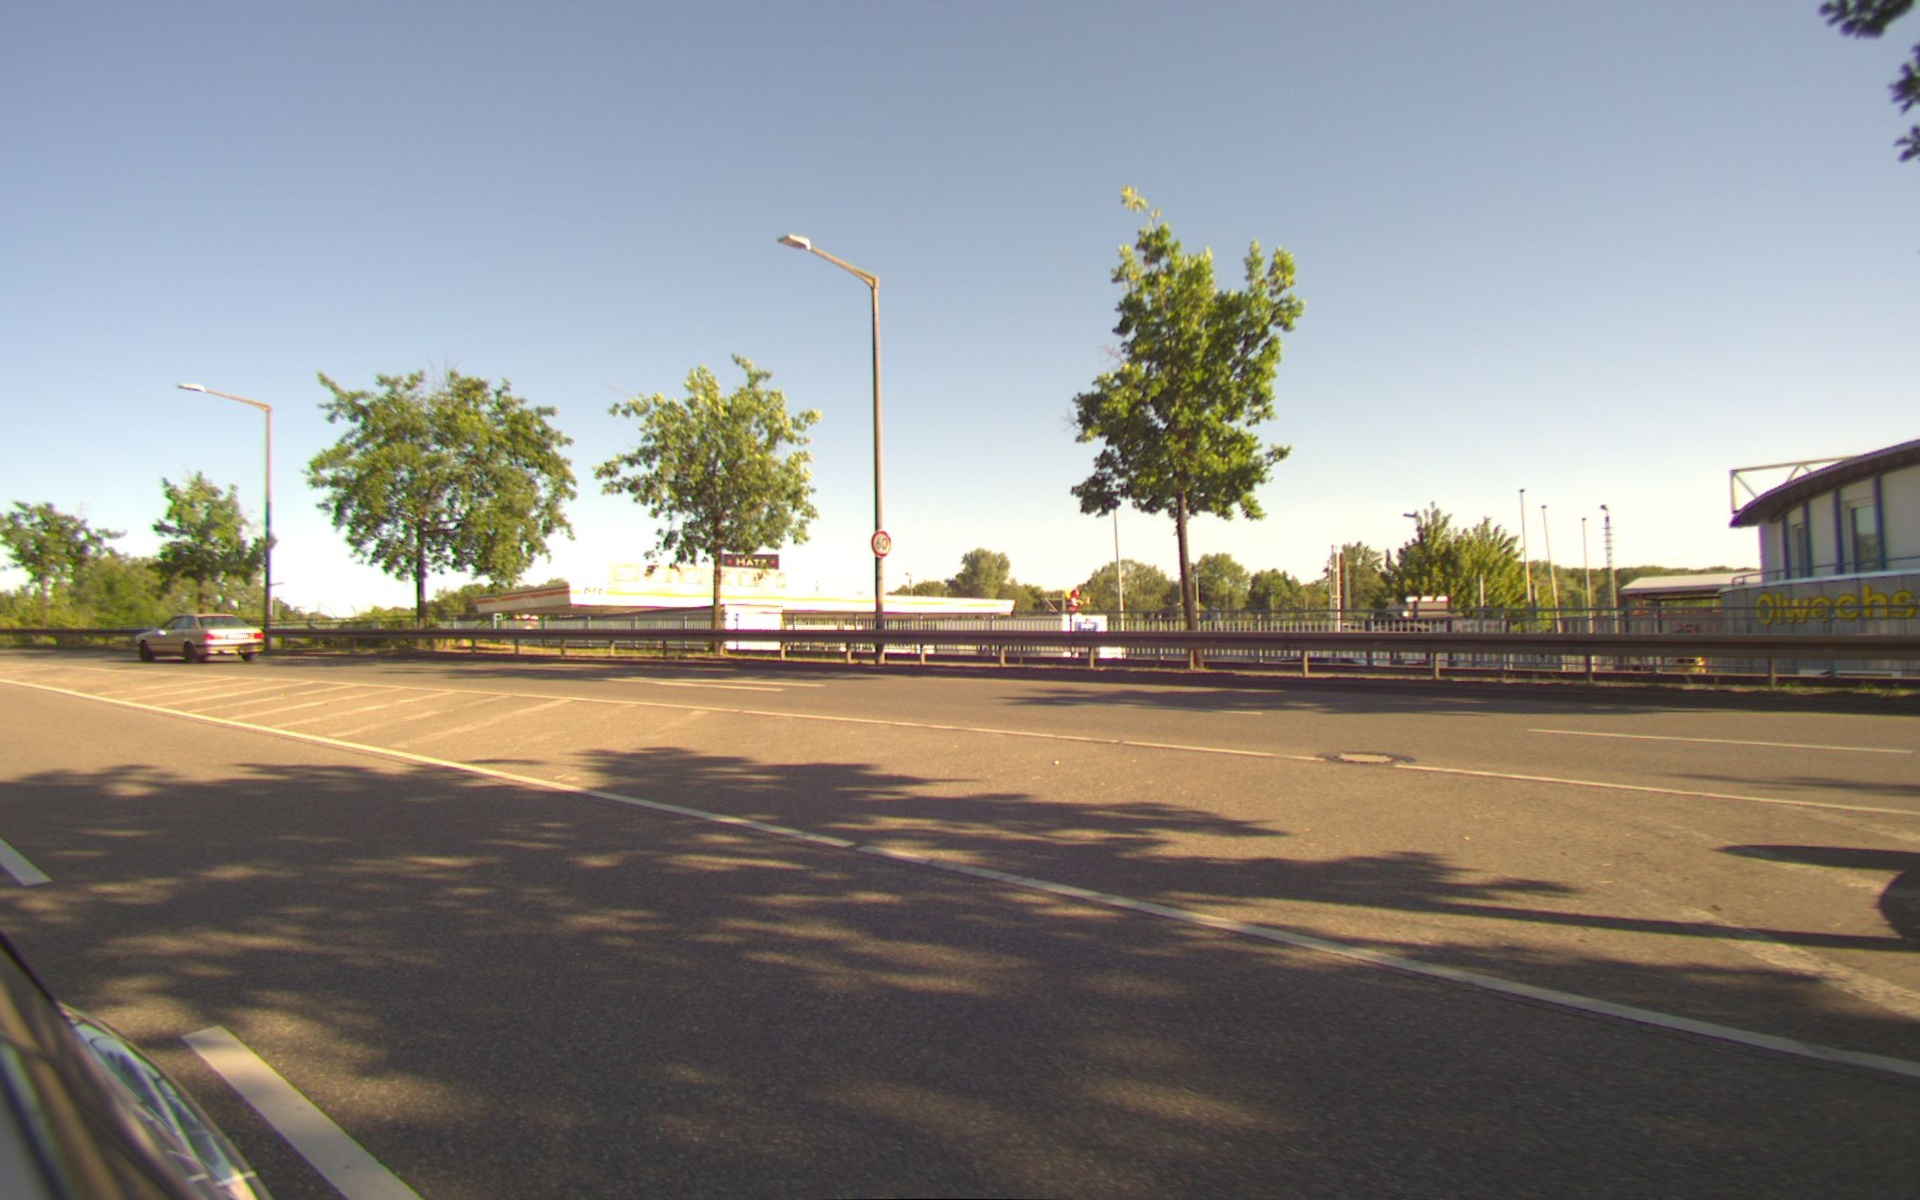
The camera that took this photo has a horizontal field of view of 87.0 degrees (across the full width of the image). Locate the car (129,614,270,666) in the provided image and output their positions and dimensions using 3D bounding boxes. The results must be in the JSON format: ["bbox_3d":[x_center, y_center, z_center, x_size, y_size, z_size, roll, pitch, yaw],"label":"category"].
[{"bbox_3d":[-22.188,1.138,29.491,4.479,1.396,1.717,-1,-1,30],"label":"car"}]
